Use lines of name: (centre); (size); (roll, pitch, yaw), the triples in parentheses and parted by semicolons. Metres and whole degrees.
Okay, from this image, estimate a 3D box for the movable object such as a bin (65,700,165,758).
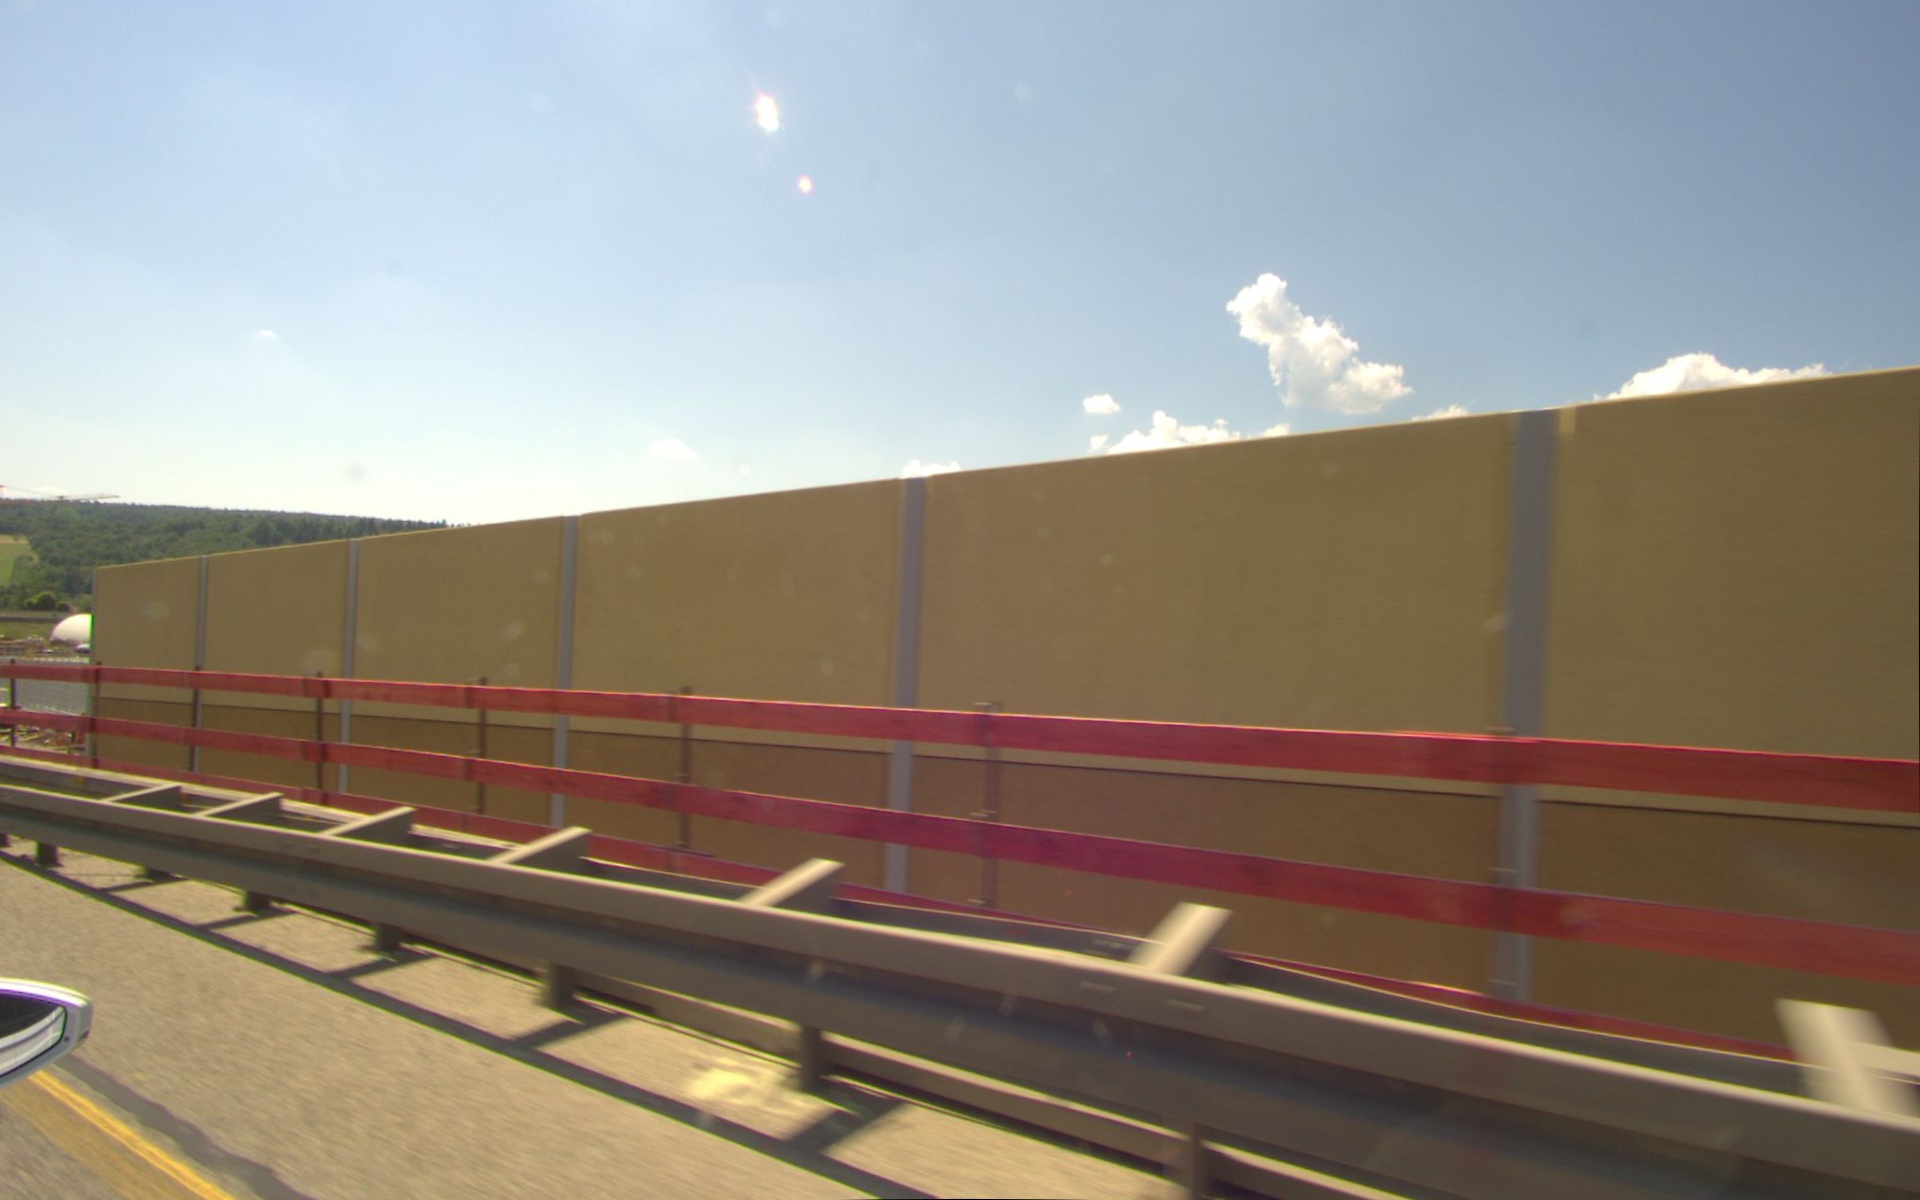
movable object such as a bin: (-42.728, 6.476, 50.644); (4.390, 2.520, 2.605); (-1, -3, 32)
